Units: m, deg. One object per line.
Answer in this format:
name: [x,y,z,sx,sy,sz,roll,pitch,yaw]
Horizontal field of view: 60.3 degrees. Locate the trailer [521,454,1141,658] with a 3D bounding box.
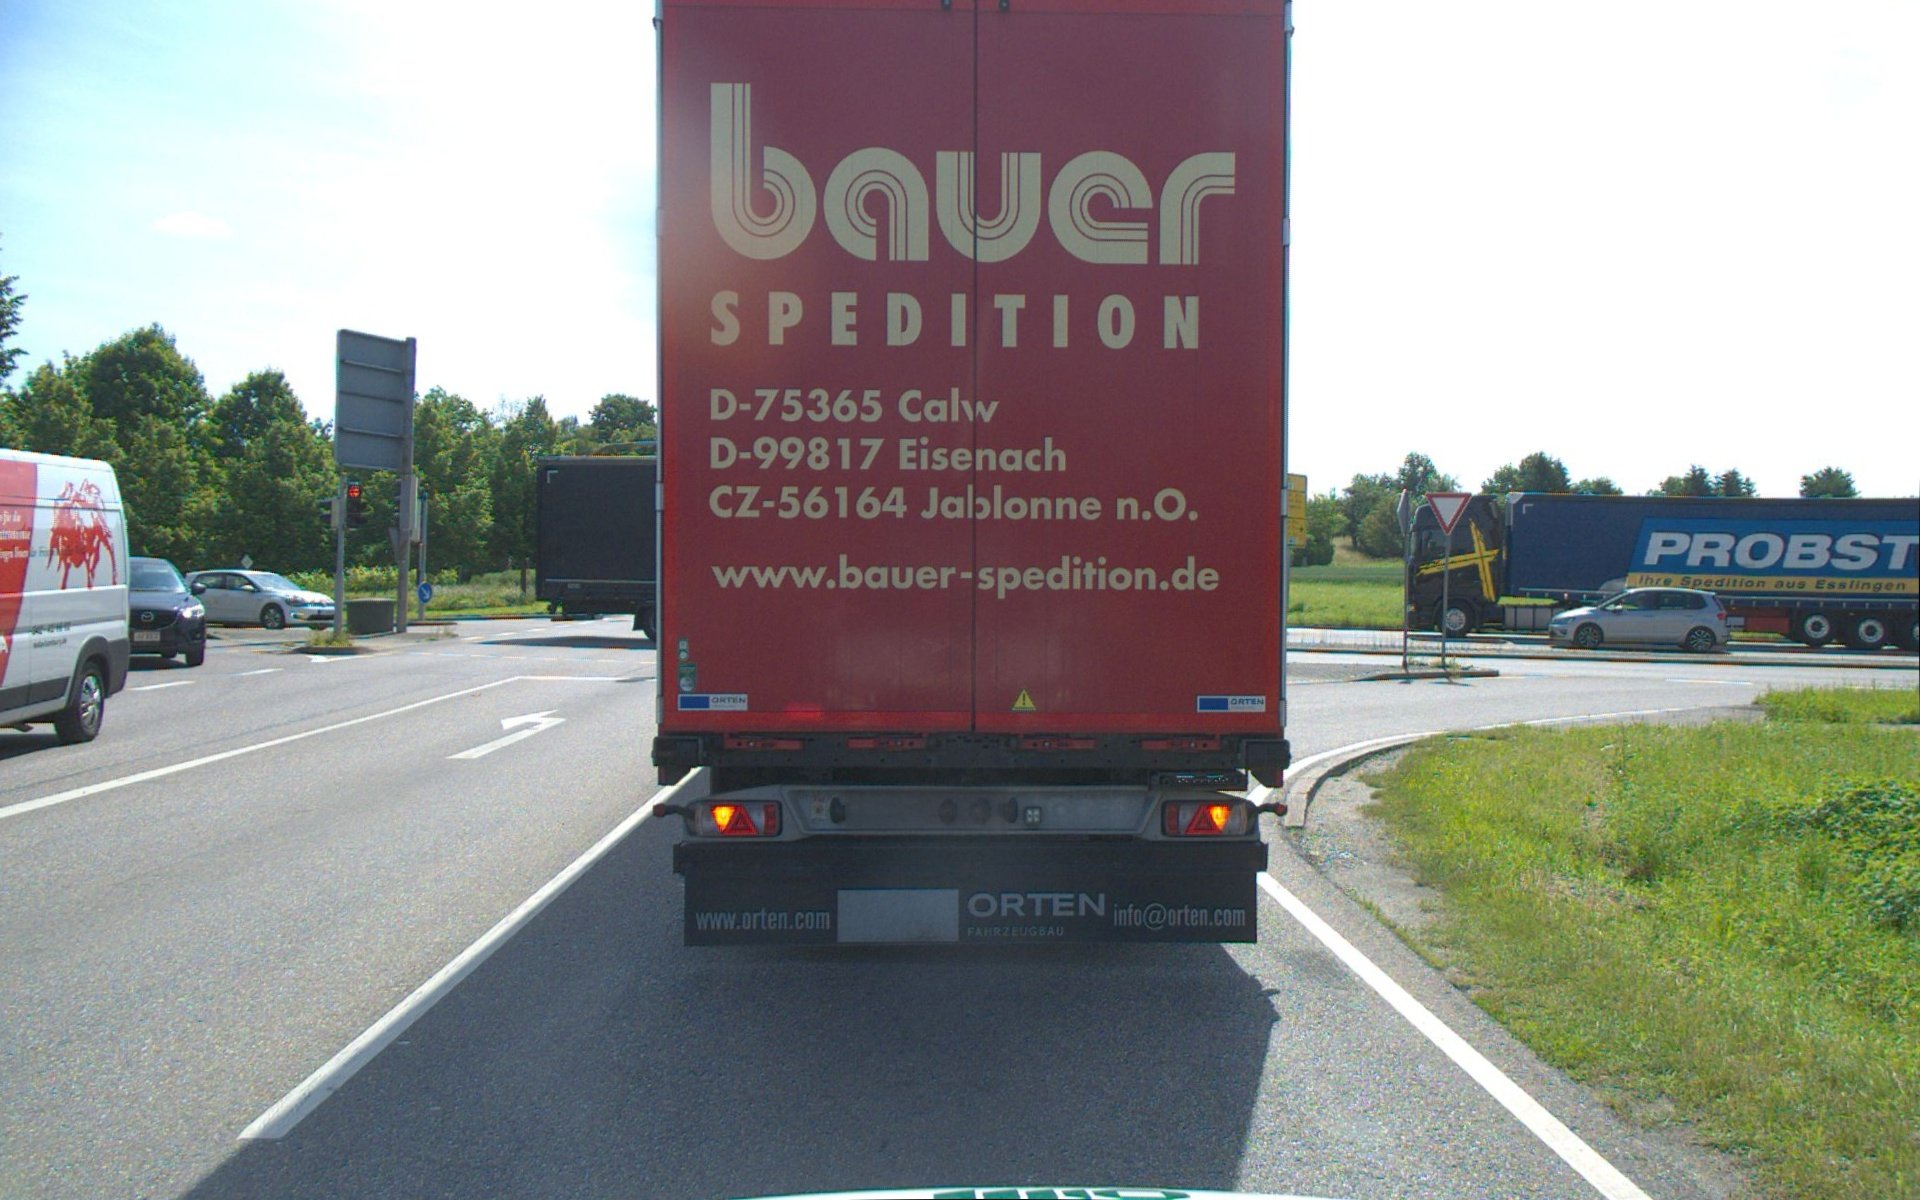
trailer: [-2.902,-1.065,36.483,13.393,4.132,2.801,1,1,14]

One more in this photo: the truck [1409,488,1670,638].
truck: [16.395,-1.094,47.319,6.783,4.063,3.030,1,1,16]

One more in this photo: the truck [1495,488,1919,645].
truck: [22.115,-0.960,45.508,13.982,4.049,3.029,1,1,18]

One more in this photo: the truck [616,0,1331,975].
truck: [-0.096,-0.674,14.588,2.679,3.993,16.622,1,1,-1]

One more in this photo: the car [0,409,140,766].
car: [-8.284,-0.104,12.357,2.078,2.700,5.975,1,1,-8]

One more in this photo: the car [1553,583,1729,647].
car: [17.176,0.374,41.872,3.910,1.517,1.539,1,-1,14]

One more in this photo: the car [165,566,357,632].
car: [-17.096,-0.052,40.472,4.157,1.486,1.811,1,1,17]

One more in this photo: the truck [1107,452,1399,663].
truck: [6.065,-0.916,34.504,5.701,4.132,2.801,1,1,10]

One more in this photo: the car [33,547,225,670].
car: [-13.152,0.131,26.070,1.854,1.780,4.052,1,-1,-39]
